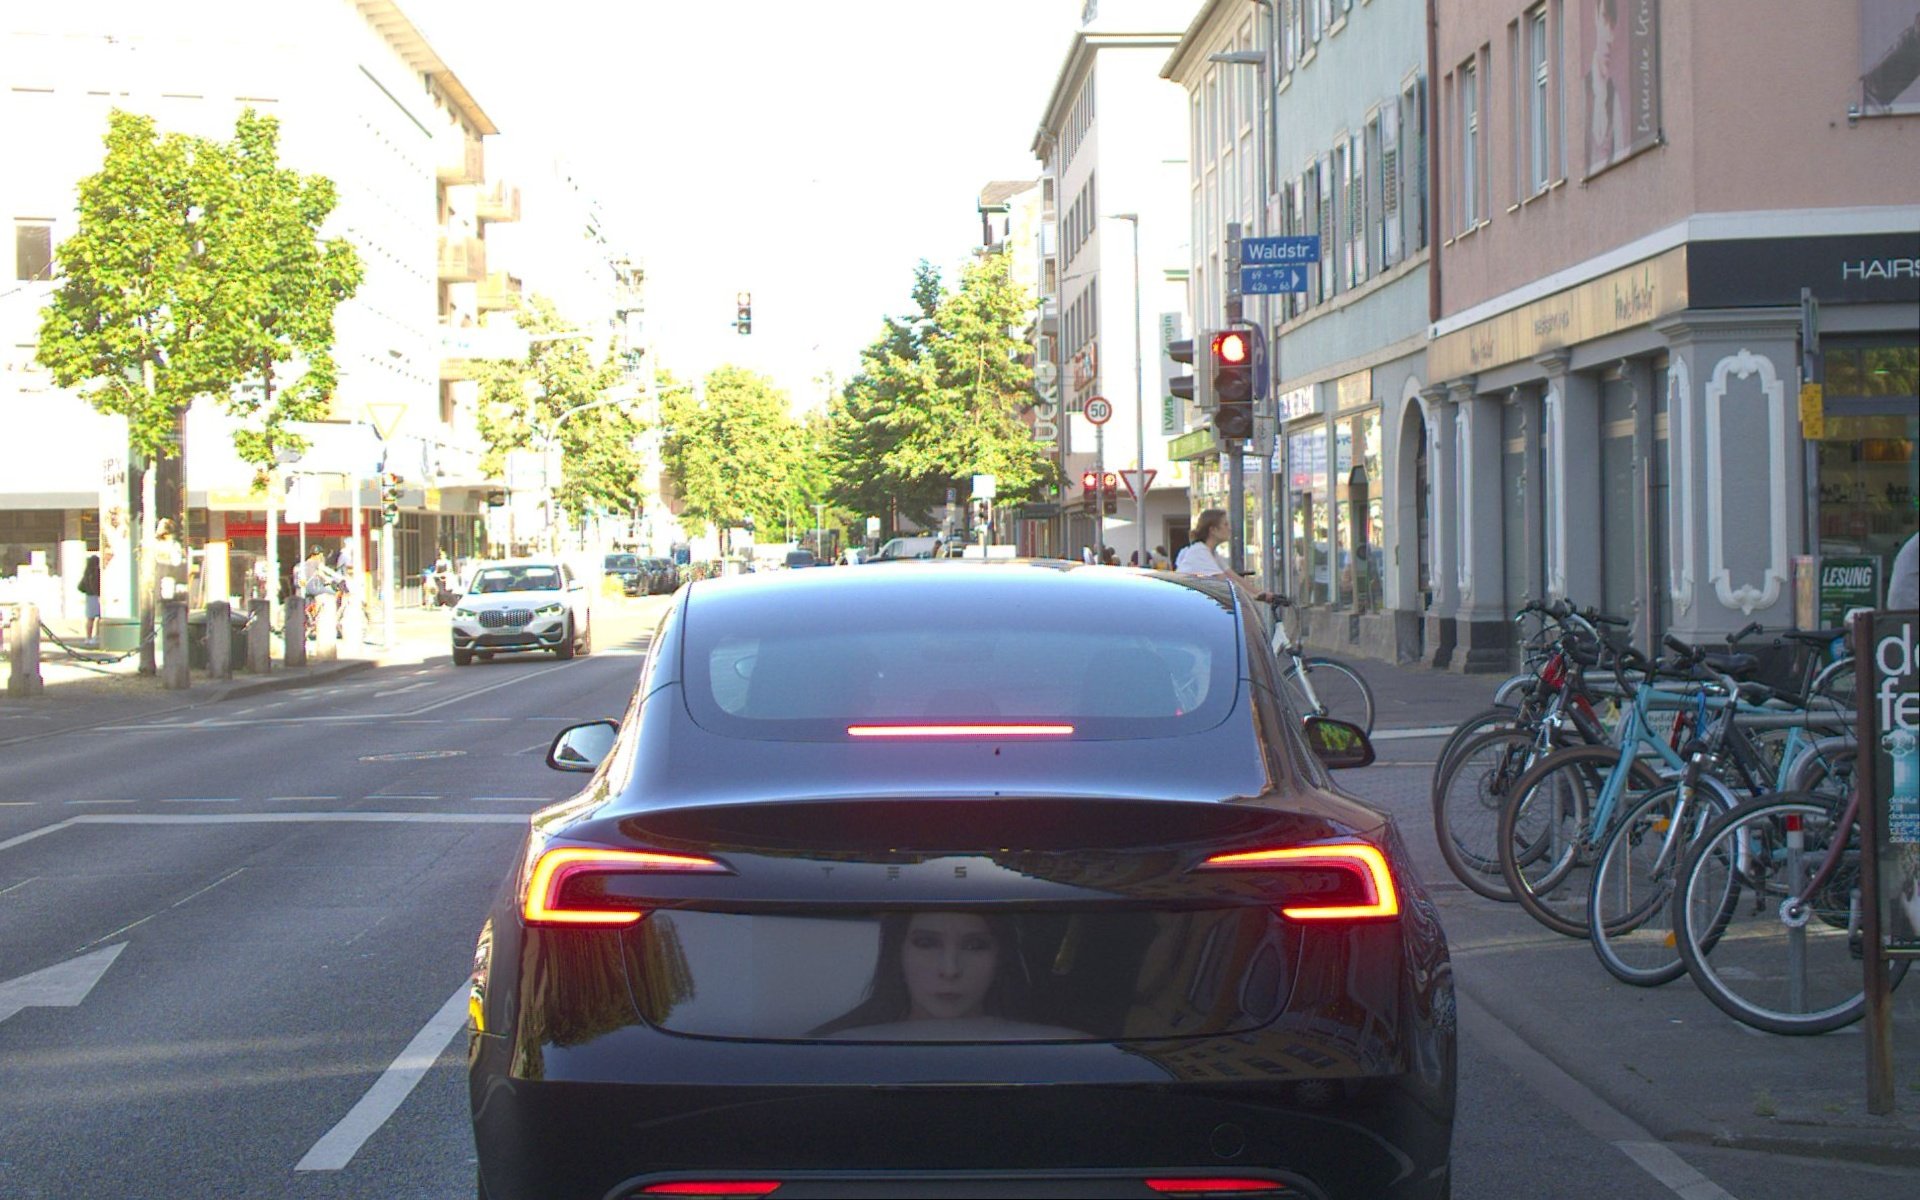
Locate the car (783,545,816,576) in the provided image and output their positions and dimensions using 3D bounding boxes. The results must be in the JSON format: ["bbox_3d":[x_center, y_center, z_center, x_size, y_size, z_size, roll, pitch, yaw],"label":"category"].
[{"bbox_3d":[-8.961,-2.231,192.524,1.829,1.718,4.000,0,1,-2],"label":"car"}]

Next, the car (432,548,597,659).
[{"bbox_3d":[-6.887,0.025,53.484,1.993,1.535,4.000,-4,1,-1],"label":"car"}]

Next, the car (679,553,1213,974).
[{"bbox_3d":[-0.042,0.540,13.812,1.850,1.450,3.786,0,1,0],"label":"car"}]

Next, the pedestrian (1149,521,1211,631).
[{"bbox_3d":[3.719,-0.410,58.089,0.999,1.844,0.615,0,1,-1],"label":"pedestrian"}]

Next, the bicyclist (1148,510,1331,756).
[{"bbox_3d":[1.839,0.205,22.556,1.098,1.583,0.628,0,1,16],"label":"bicyclist"}]

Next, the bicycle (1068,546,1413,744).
[{"bbox_3d":[1.842,0.295,22.549,2.127,1.196,0.628,-2,0,16],"label":"bicycle"}]

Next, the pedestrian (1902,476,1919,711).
[{"bbox_3d":[6.213,-0.040,21.181,0.743,1.435,0.582,1,0,12],"label":"pedestrian"}]

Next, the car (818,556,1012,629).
[{"bbox_3d":[-1.135,-0.203,84.414,4.650,1.721,2.052,1,1,43],"label":"car"}]

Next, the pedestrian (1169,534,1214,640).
[{"bbox_3d":[3.914,-0.226,58.150,0.704,1.777,0.533,0,1,-1],"label":"pedestrian"}]

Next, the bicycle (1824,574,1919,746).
[{"bbox_3d":[6.171,0.367,21.180,1.616,1.041,0.590,1,0,12],"label":"bicycle"}]

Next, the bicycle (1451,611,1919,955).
[{"bbox_3d":[2.644,0.652,12.447,1.627,1.156,0.433,-2,1,-1],"label":"bicycle"}]

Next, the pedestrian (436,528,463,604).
[{"bbox_3d":[-13.487,-0.893,90.814,0.626,2.007,0.575,0,1,-1],"label":"pedestrian"}]

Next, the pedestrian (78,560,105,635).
[{"bbox_3d":[-15.621,-0.047,61.855,0.420,1.335,0.394,0,1,-7],"label":"pedestrian"}]

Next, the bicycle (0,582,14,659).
[{"bbox_3d":[-14.918,0.298,50.030,2.082,1.100,0.806,0,1,-1],"label":"bicycle"}]

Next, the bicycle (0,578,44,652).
[{"bbox_3d":[-15.057,0.227,52.223,2.082,1.100,0.806,0,1,-1],"label":"bicycle"}]

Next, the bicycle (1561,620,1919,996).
[{"bbox_3d":[2.845,0.663,11.281,1.627,1.156,0.433,-2,1,-1],"label":"bicycle"}]

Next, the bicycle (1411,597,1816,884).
[{"bbox_3d":[2.802,0.596,14.809,1.628,1.156,0.433,-2,1,1],"label":"bicycle"}]

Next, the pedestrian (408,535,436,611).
[{"bbox_3d":[-14.221,-0.715,90.923,0.626,2.007,0.707,0,1,-1],"label":"pedestrian"}]

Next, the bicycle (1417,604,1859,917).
[{"bbox_3d":[2.678,0.626,13.641,1.627,1.156,0.433,-2,1,-1],"label":"bicycle"}]

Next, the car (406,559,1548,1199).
[{"bbox_3d":[0.033,0.644,7.466,1.850,1.450,3.786,0,1,0],"label":"car"}]
